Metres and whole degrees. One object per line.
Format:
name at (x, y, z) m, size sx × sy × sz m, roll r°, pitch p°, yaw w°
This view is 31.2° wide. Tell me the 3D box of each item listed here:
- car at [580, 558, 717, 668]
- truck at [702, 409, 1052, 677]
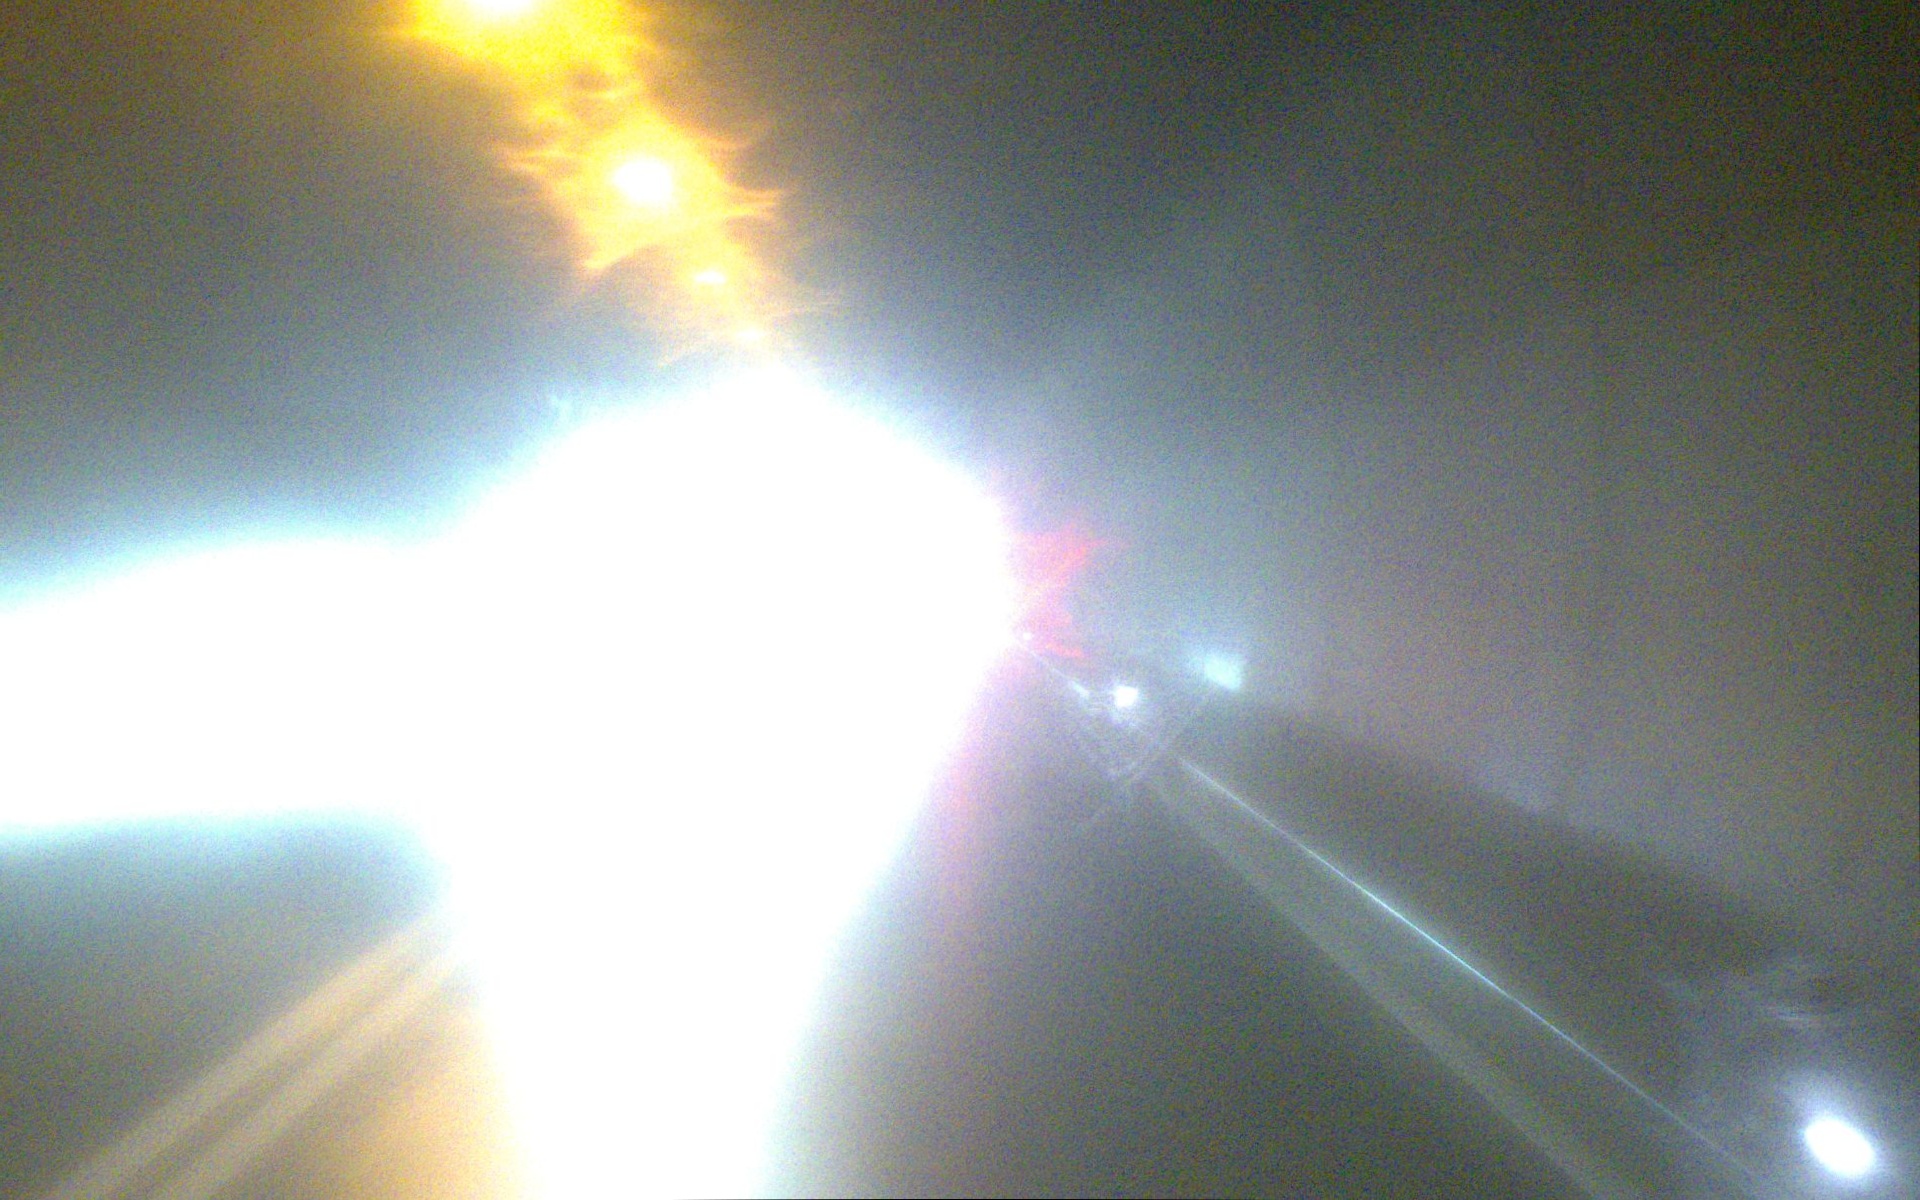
car at (-4.613, 0.165, 51.397) m, size 1.748 × 1.579 × 4.000 m, roll 0°, pitch 1°, yaw -1°
truck at (-0.906, -0.644, 39.731) m, size 3.535 × 2.684 × 8.956 m, roll -1°, pitch 1°, yaw -1°
